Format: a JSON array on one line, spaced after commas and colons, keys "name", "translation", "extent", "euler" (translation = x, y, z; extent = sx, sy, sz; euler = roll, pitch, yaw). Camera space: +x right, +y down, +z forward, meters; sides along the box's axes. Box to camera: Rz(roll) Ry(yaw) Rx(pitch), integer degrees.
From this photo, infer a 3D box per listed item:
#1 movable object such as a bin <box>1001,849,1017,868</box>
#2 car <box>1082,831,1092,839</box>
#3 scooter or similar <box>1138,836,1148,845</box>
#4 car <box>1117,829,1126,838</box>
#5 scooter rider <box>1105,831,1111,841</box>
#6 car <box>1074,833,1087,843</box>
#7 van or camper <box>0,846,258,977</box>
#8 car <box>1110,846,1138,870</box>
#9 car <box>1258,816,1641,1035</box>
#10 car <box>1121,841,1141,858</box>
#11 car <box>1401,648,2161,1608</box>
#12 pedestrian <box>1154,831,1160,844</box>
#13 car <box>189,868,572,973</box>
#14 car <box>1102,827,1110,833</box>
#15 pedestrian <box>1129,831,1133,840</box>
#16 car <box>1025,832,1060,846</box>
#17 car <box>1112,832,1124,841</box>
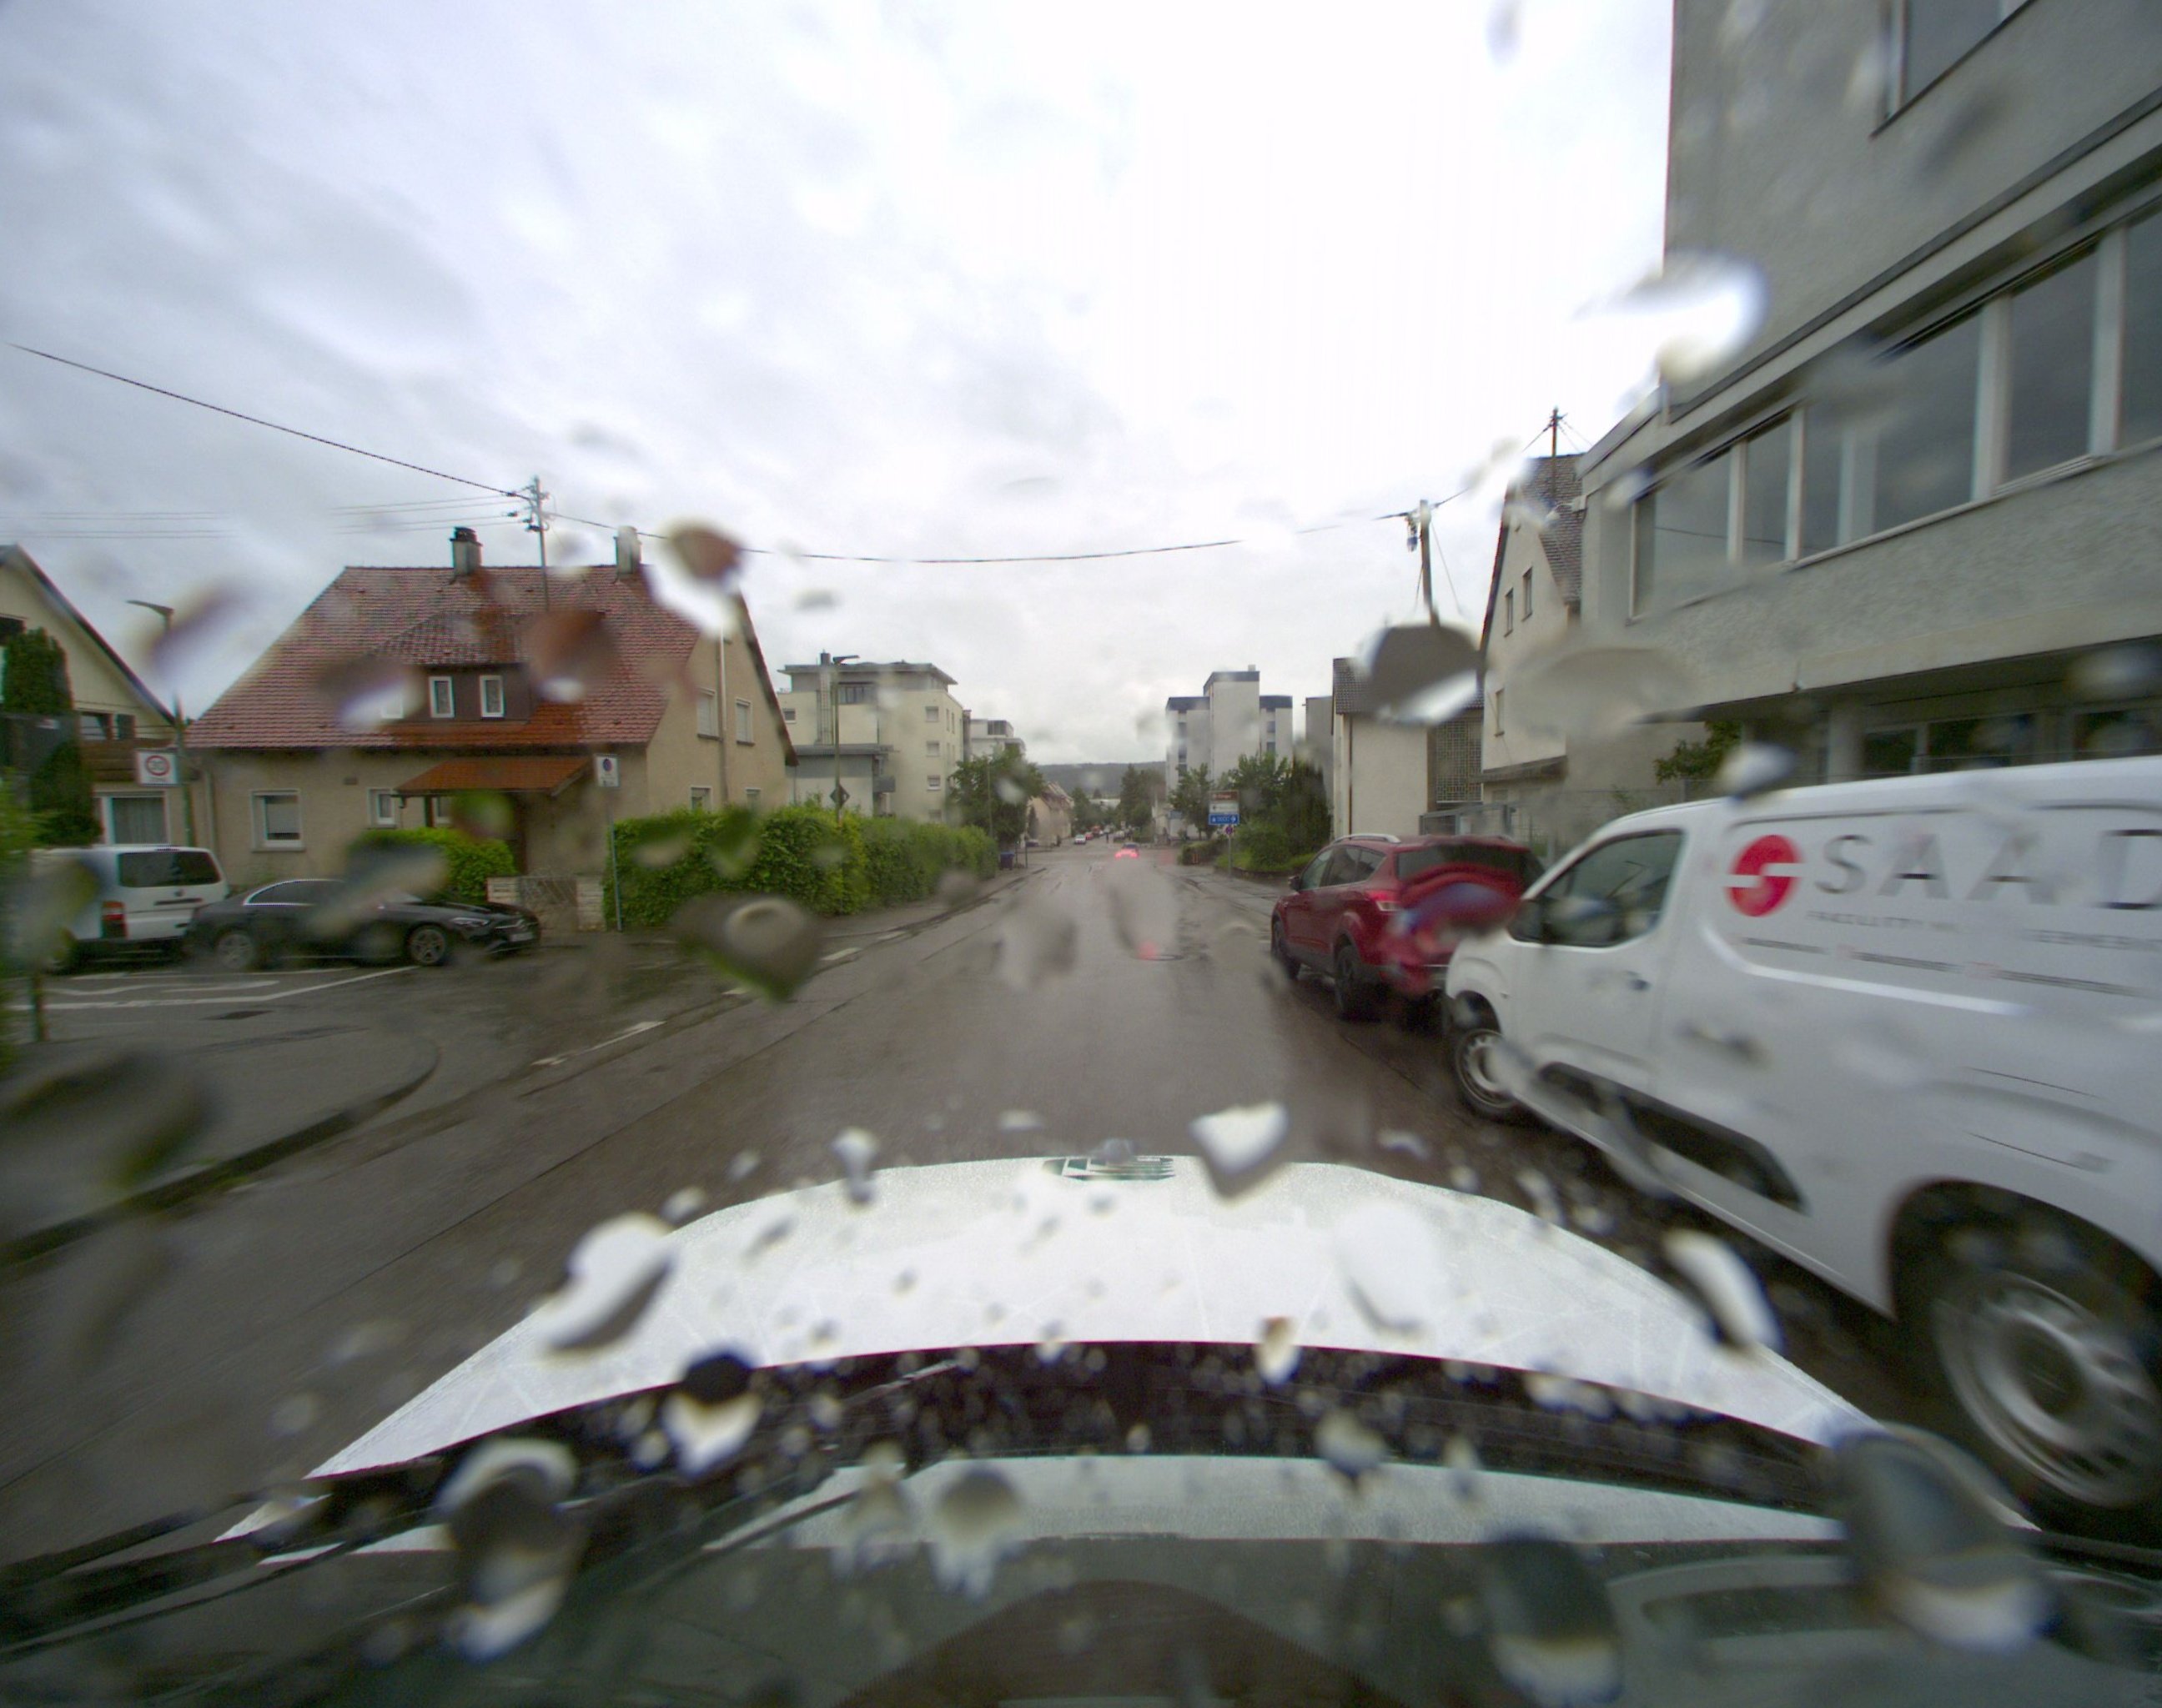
[{"name": "movable object such as a bin", "translation": [-5.274, 0.323, 59.928], "extent": [1.068, 1.347, 1.319], "euler": [0, 1, -1]}, {"name": "car", "translation": [1.389, -4.171, 176.610], "extent": [1.894, 1.558, 4.195], "euler": [-2, 2, 2]}, {"name": "scooter or similar", "translation": [8.458, -1.863, 110.653], "extent": [1.265, 1.081, 0.876], "euler": [-2, 2, -3]}, {"name": "car", "translation": [8.724, -4.386, 175.438], "extent": [1.894, 1.745, 4.195], "euler": [-2, 2, 2]}, {"name": "scooter rider", "translation": [4.885, -3.346, 148.502], "extent": [0.755, 1.795, 0.668], "euler": [-3, 2, -21]}, {"name": "car", "translation": [-0.073, -2.817, 140.169], "extent": [1.986, 1.625, 4.195], "euler": [-2, 2, 2]}, {"name": "van or camper", "translation": [-16.803, 0.908, 13.386], "extent": [4.532, 1.930, 1.936], "euler": [-2, 1, 1]}, {"name": "car", "translation": [3.390, 0.321, 65.380], "extent": [1.987, 1.683, 4.000], "euler": [-2, 2, 0]}, {"name": "car", "translation": [3.356, 0.529, 8.715], "extent": [1.986, 1.644, 4.961], "euler": [-1, 0, 2]}, {"name": "car", "translation": [5.637, -0.505, 92.408], "extent": [1.987, 1.683, 4.000], "euler": [-2, 2, 0]}, {"name": "car", "translation": [3.054, 0.494, 3.301], "extent": [1.871, 1.833, 4.491], "euler": [-1, 0, 2]}, {"name": "pedestrian", "translation": [10.463, -2.266, 112.022], "extent": [0.646, 1.647, 0.525], "euler": [1, 1, -5]}, {"name": "car", "translation": [-11.223, 1.031, 13.296], "extent": [4.564, 1.398, 1.895], "euler": [-2, 1, 1]}, {"name": "car", "translation": [6.956, -6.678, 226.743], "extent": [1.894, 1.558, 4.195], "euler": [-2, 2, 2]}, {"name": "pedestrian", "translation": [9.914, -3.600, 160.004], "extent": [0.742, 1.848, 0.526], "euler": [-1, 0, 4]}, {"name": "car", "translation": [-5.661, -2.142, 119.787], "extent": [4.867, 1.835, 1.978], "euler": [-4, 2, -37]}, {"name": "car", "translation": [6.999, -3.386, 153.372], "extent": [2.137, 1.589, 4.131], "euler": [-2, 2, 2]}]
